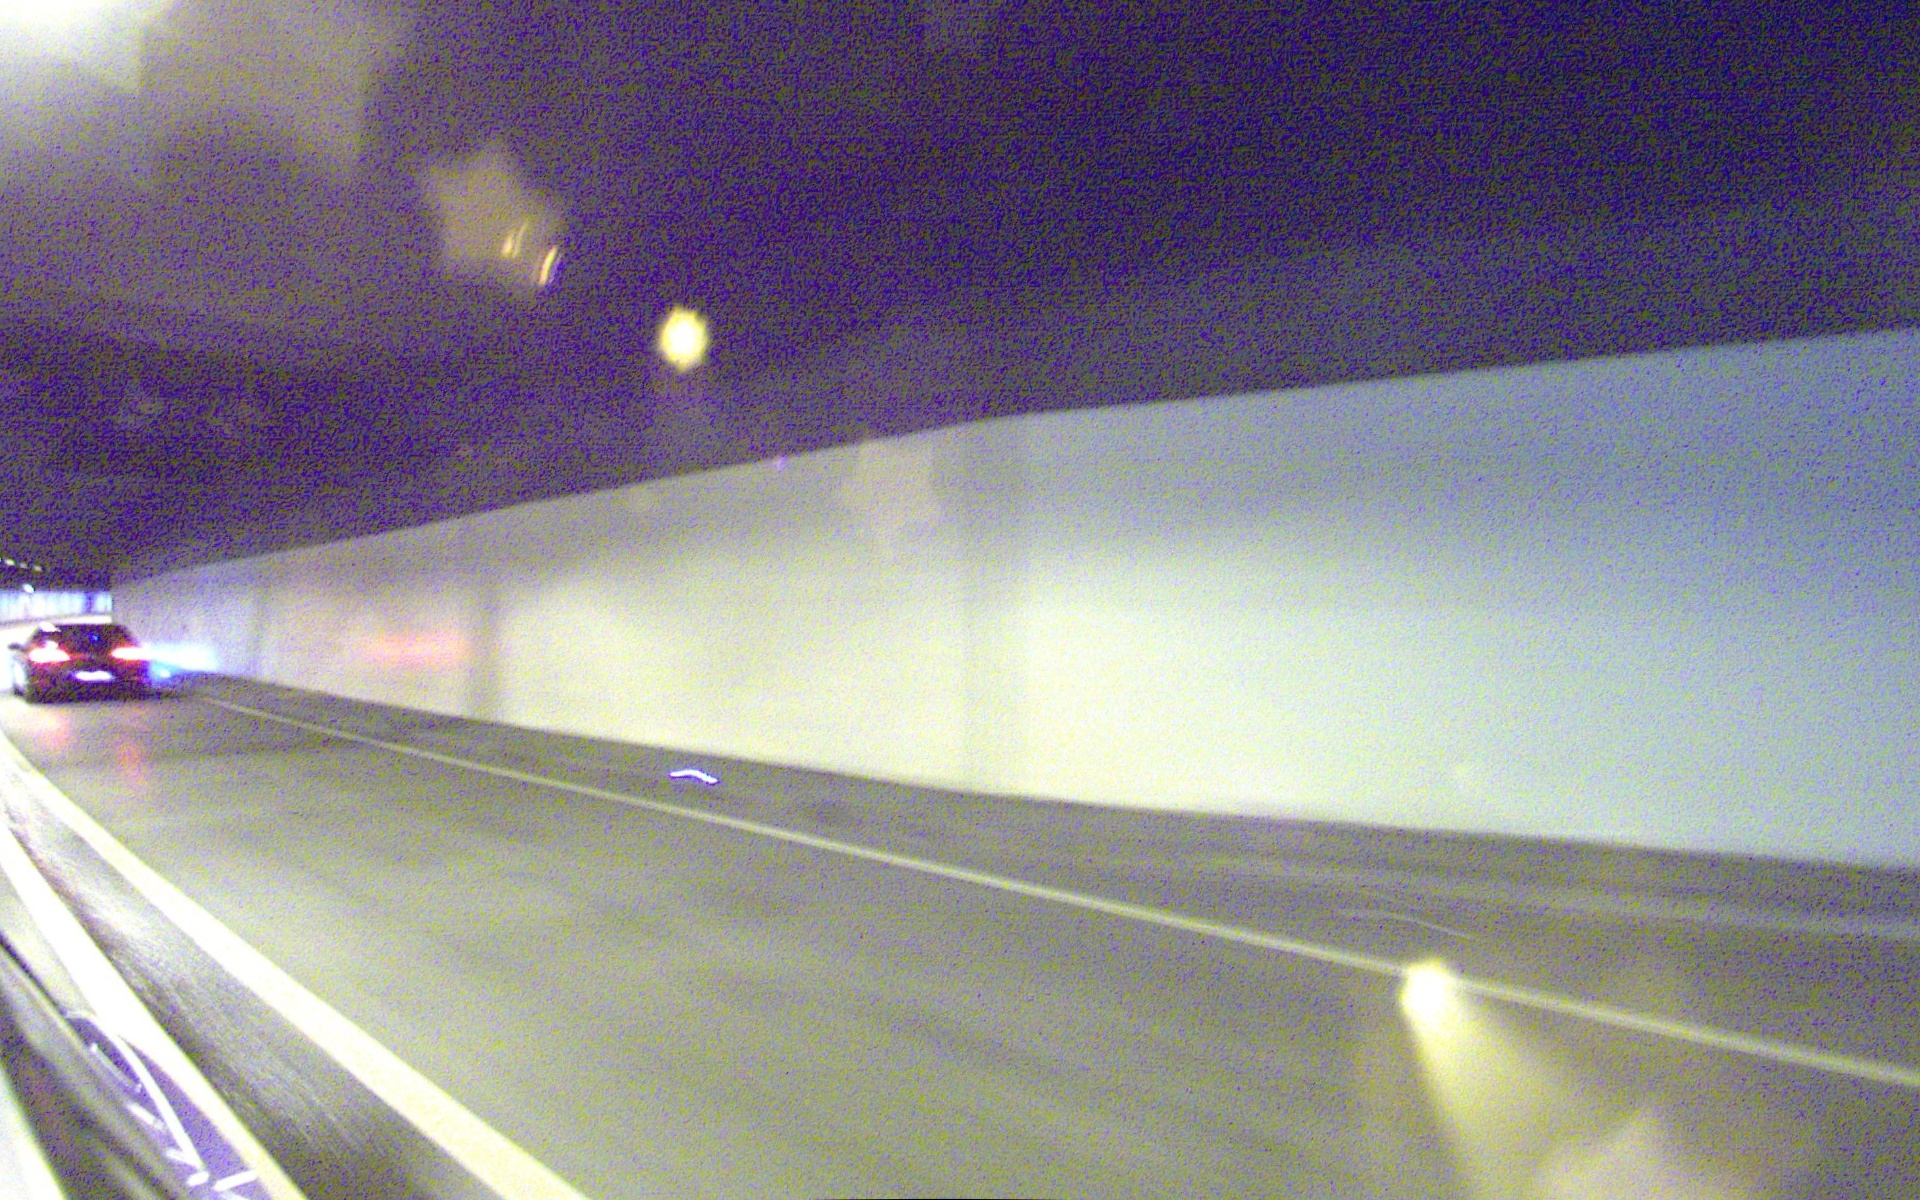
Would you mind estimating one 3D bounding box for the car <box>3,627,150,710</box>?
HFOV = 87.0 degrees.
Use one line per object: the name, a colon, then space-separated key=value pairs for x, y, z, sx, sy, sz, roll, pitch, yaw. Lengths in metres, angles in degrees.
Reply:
car: x=-17.023 y=1.239 z=19.427 sx=4.117 sy=1.427 sz=1.689 roll=-2 pitch=-2 yaw=43
